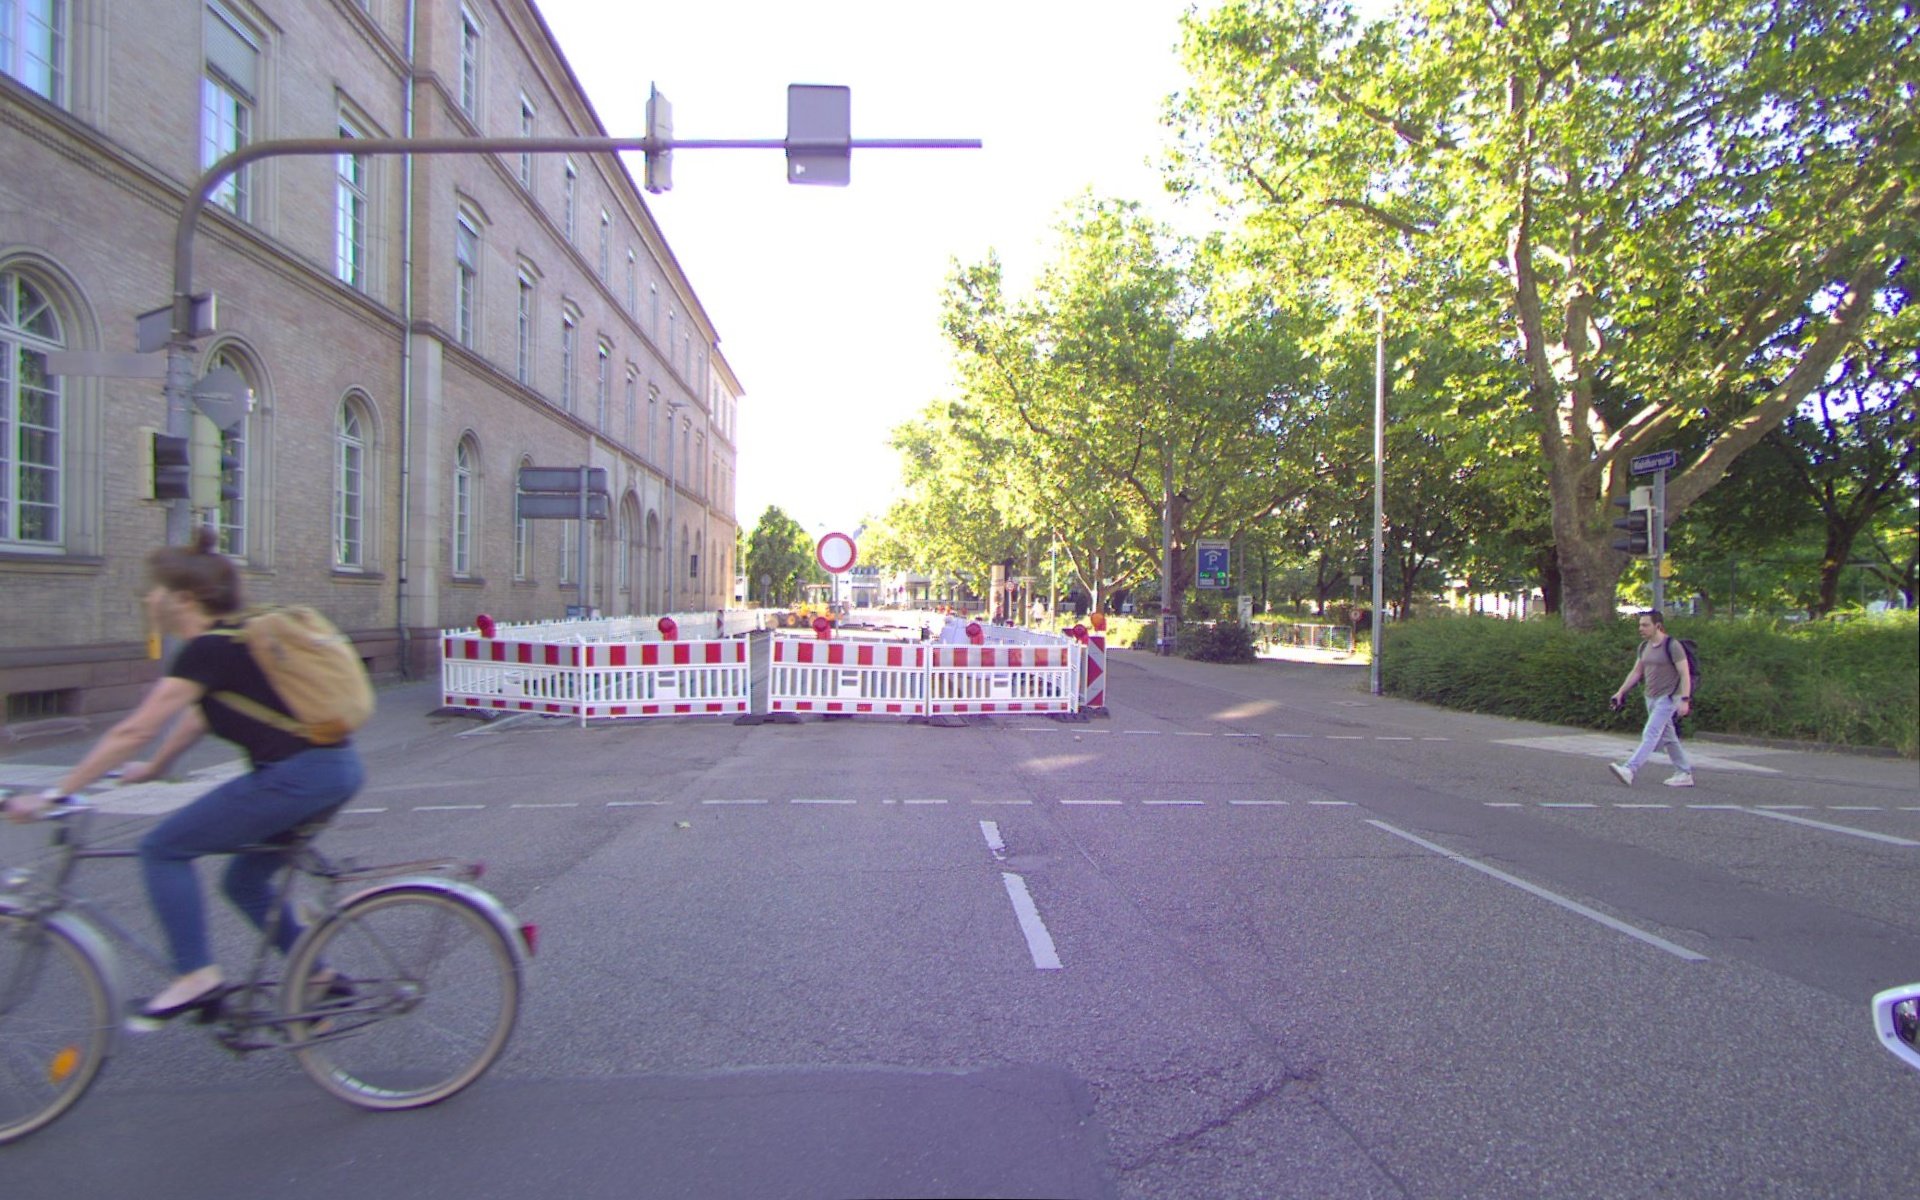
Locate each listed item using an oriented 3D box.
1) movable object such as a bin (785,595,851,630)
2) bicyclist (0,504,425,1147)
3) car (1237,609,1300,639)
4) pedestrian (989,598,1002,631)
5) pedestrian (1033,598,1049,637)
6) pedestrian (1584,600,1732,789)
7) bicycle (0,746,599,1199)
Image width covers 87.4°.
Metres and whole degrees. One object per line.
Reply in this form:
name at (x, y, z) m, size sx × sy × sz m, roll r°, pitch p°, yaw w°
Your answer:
movable object such as a bin at (-9.269, 0.828, 65.493) m, size 3.932 × 2.220 × 1.936 m, roll -1°, pitch -1°, yaw 33°
bicyclist at (-2.082, 0.552, 2.817) m, size 0.888 × 1.553 × 0.615 m, roll 1°, pitch 0°, yaw -16°
car at (18.900, 1.447, 61.766) m, size 2.036 × 1.753 × 4.565 m, roll 1°, pitch -1°, yaw -7°
pedestrian at (2.214, 0.907, 63.218) m, size 0.597 × 2.040 × 0.825 m, roll 1°, pitch 0°, yaw -11°
pedestrian at (4.360, 0.944, 54.333) m, size 0.636 × 2.040 × 0.825 m, roll 1°, pitch 0°, yaw -11°
pedestrian at (6.736, 0.889, 9.734) m, size 0.936 × 1.745 × 0.705 m, roll 1°, pitch -1°, yaw -3°
bicycle at (-2.013, 0.969, 2.843) m, size 1.811 × 0.982 × 0.615 m, roll 1°, pitch 0°, yaw -16°
